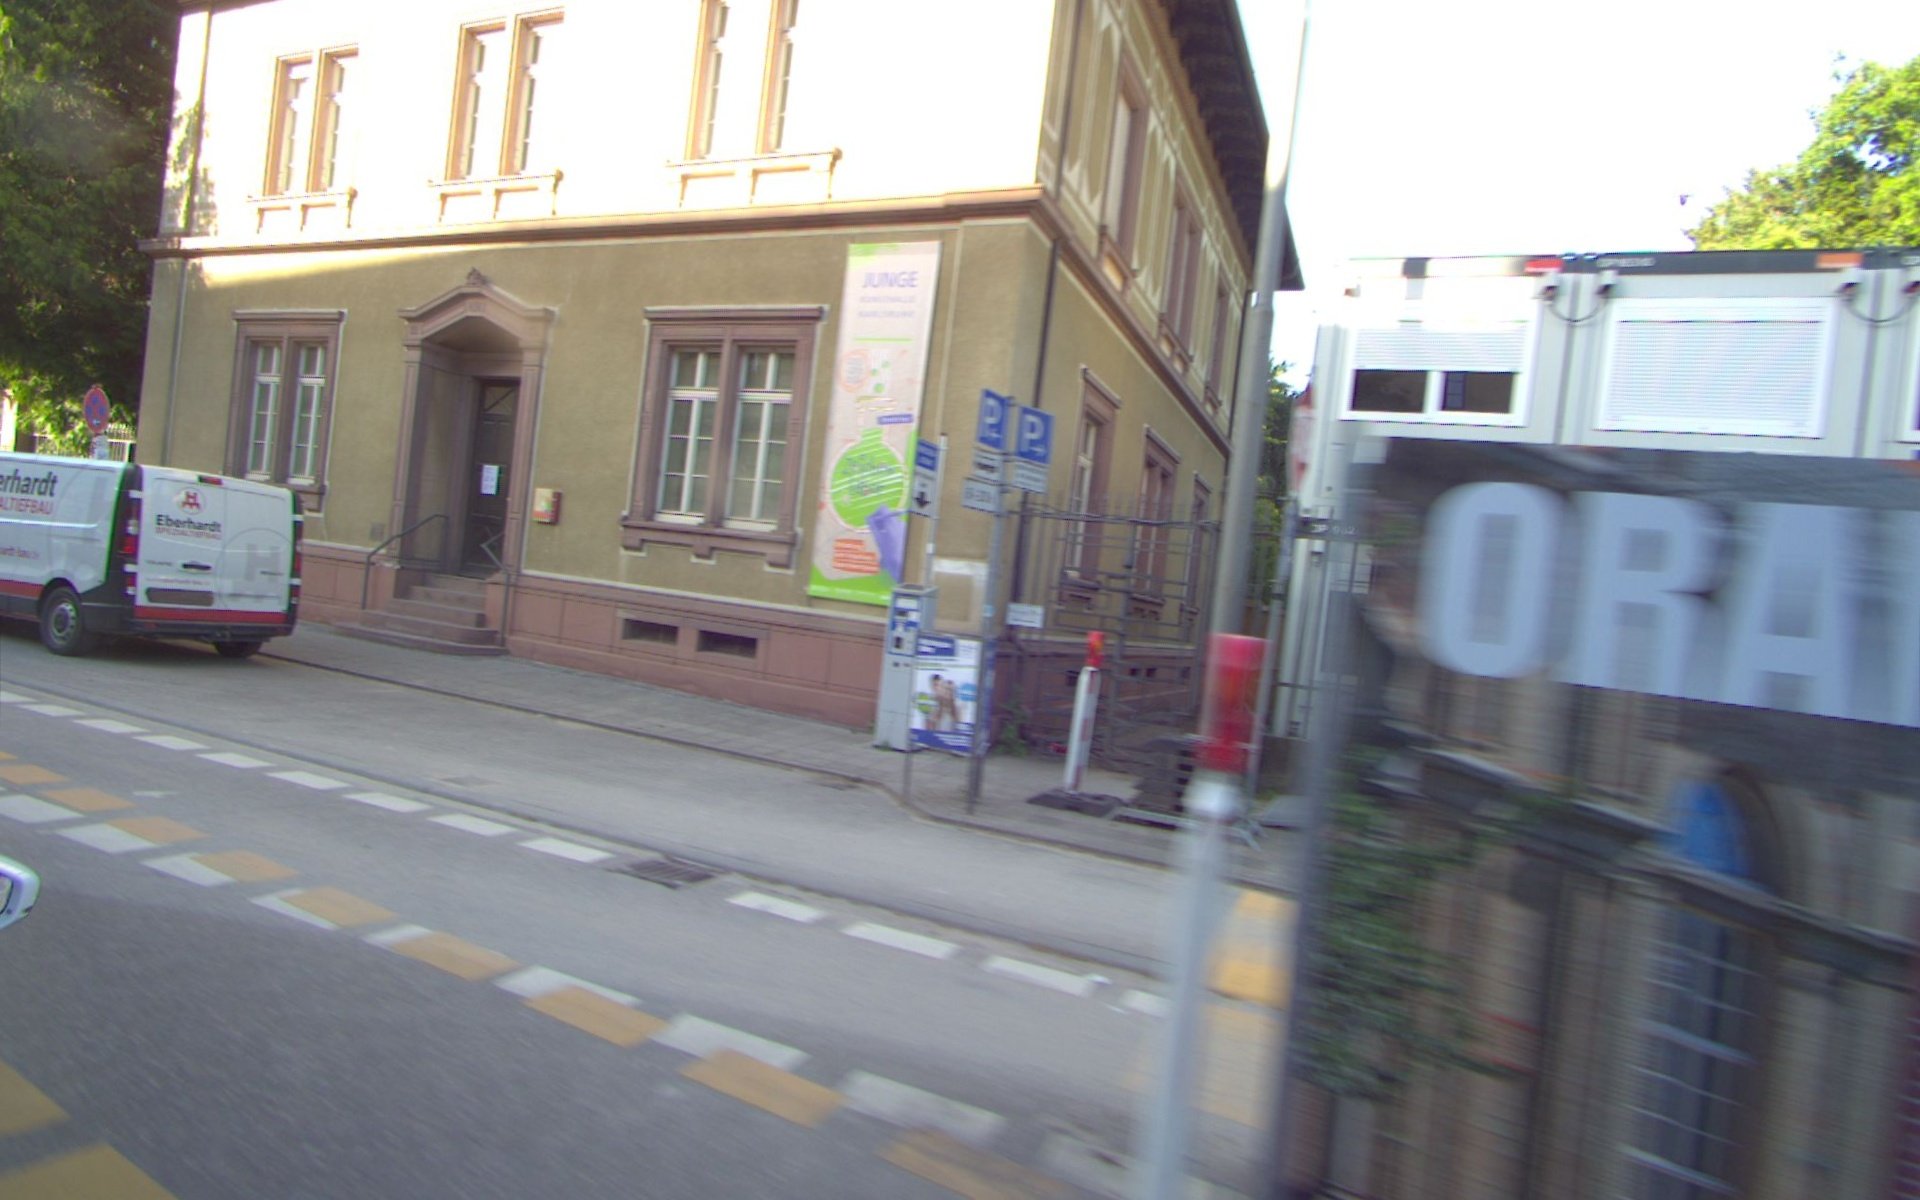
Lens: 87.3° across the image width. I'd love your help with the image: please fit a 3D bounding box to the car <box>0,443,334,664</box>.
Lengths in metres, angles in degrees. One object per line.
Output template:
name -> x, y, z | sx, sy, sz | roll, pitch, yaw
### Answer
car -> -10.003, -0.609, 11.297 | 5.380, 1.969, 2.021 | 7, -1, 20
